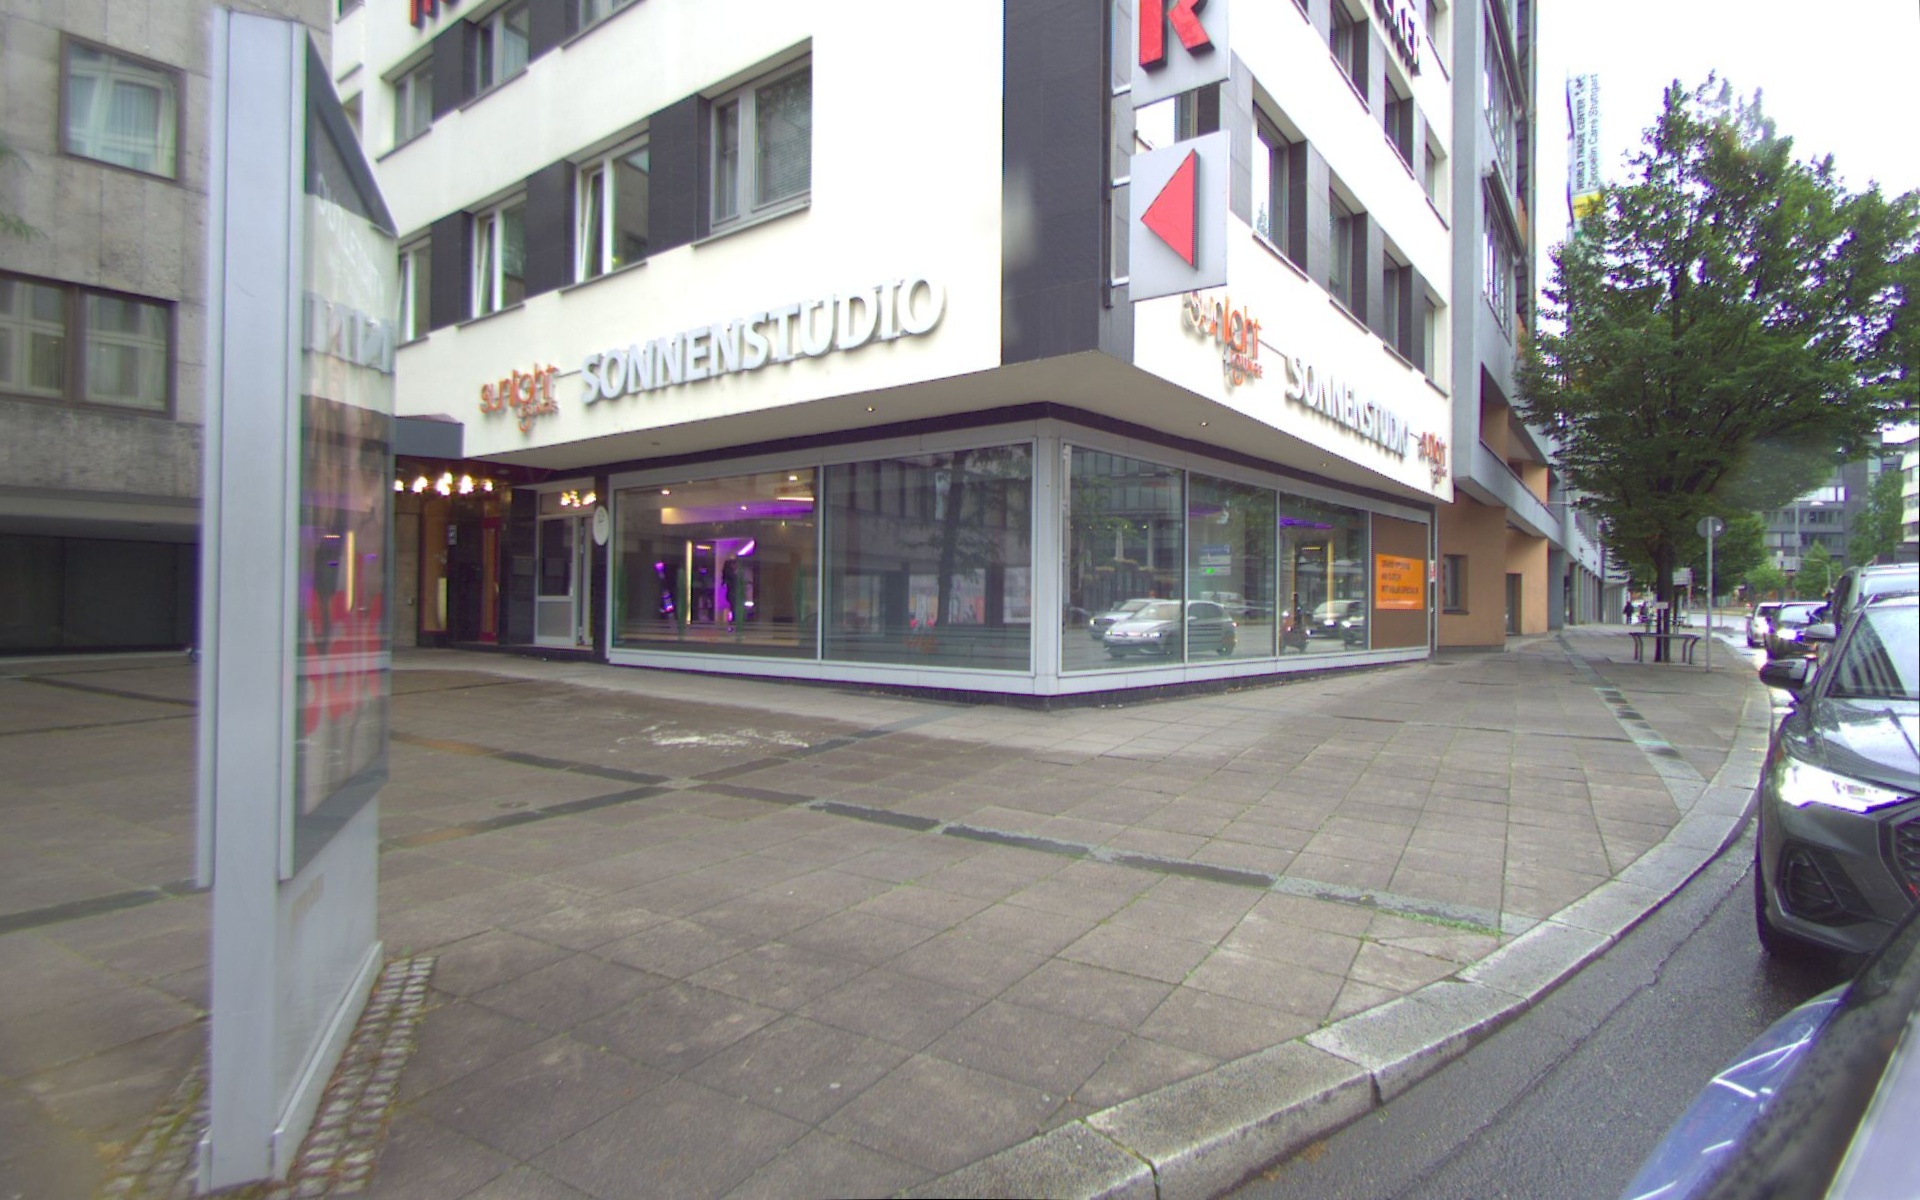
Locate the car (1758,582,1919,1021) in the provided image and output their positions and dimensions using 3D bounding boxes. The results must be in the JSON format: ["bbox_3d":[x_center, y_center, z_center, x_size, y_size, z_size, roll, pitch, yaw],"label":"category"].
[{"bbox_3d":[5.033,0.652,4.549,4.083,1.489,1.678,-1,0,-43],"label":"car"}]

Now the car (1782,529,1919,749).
[{"bbox_3d":[10.362,0.295,10.268,4.957,1.916,2.059,-1,0,-38],"label":"car"}]

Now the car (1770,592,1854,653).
[{"bbox_3d":[22.668,0.555,26.948,1.593,1.487,3.398,-2,0,40],"label":"car"}]

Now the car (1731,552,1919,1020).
[{"bbox_3d":[5.014,0.582,4.654,1.797,1.572,4.318,-2,0,44],"label":"car"}]

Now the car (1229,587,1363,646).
[{"bbox_3d":[10.432,0.456,31.181,1.993,1.629,4.849,-2,0,44],"label":"car"}]

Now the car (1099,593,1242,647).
[{"bbox_3d":[5.409,0.477,25.717,1.716,1.209,3.937,-2,0,44],"label":"car"}]

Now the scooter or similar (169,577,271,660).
[{"bbox_3d":[-11.789,0.269,16.148,0.562,1.269,1.215,1,1,37],"label":"scooter or similar"}]

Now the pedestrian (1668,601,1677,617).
[{"bbox_3d":[73.024,0.924,103.753,0.648,1.618,1.047,-2,-1,30],"label":"pedestrian"}]

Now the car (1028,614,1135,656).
[{"bbox_3d":[4.212,1.201,35.224,3.365,1.347,1.548,-1,0,34],"label":"car"}]

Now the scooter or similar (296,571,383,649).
[{"bbox_3d":[-11.127,0.170,18.161,0.516,1.354,1.215,-2,-1,37],"label":"scooter or similar"}]
